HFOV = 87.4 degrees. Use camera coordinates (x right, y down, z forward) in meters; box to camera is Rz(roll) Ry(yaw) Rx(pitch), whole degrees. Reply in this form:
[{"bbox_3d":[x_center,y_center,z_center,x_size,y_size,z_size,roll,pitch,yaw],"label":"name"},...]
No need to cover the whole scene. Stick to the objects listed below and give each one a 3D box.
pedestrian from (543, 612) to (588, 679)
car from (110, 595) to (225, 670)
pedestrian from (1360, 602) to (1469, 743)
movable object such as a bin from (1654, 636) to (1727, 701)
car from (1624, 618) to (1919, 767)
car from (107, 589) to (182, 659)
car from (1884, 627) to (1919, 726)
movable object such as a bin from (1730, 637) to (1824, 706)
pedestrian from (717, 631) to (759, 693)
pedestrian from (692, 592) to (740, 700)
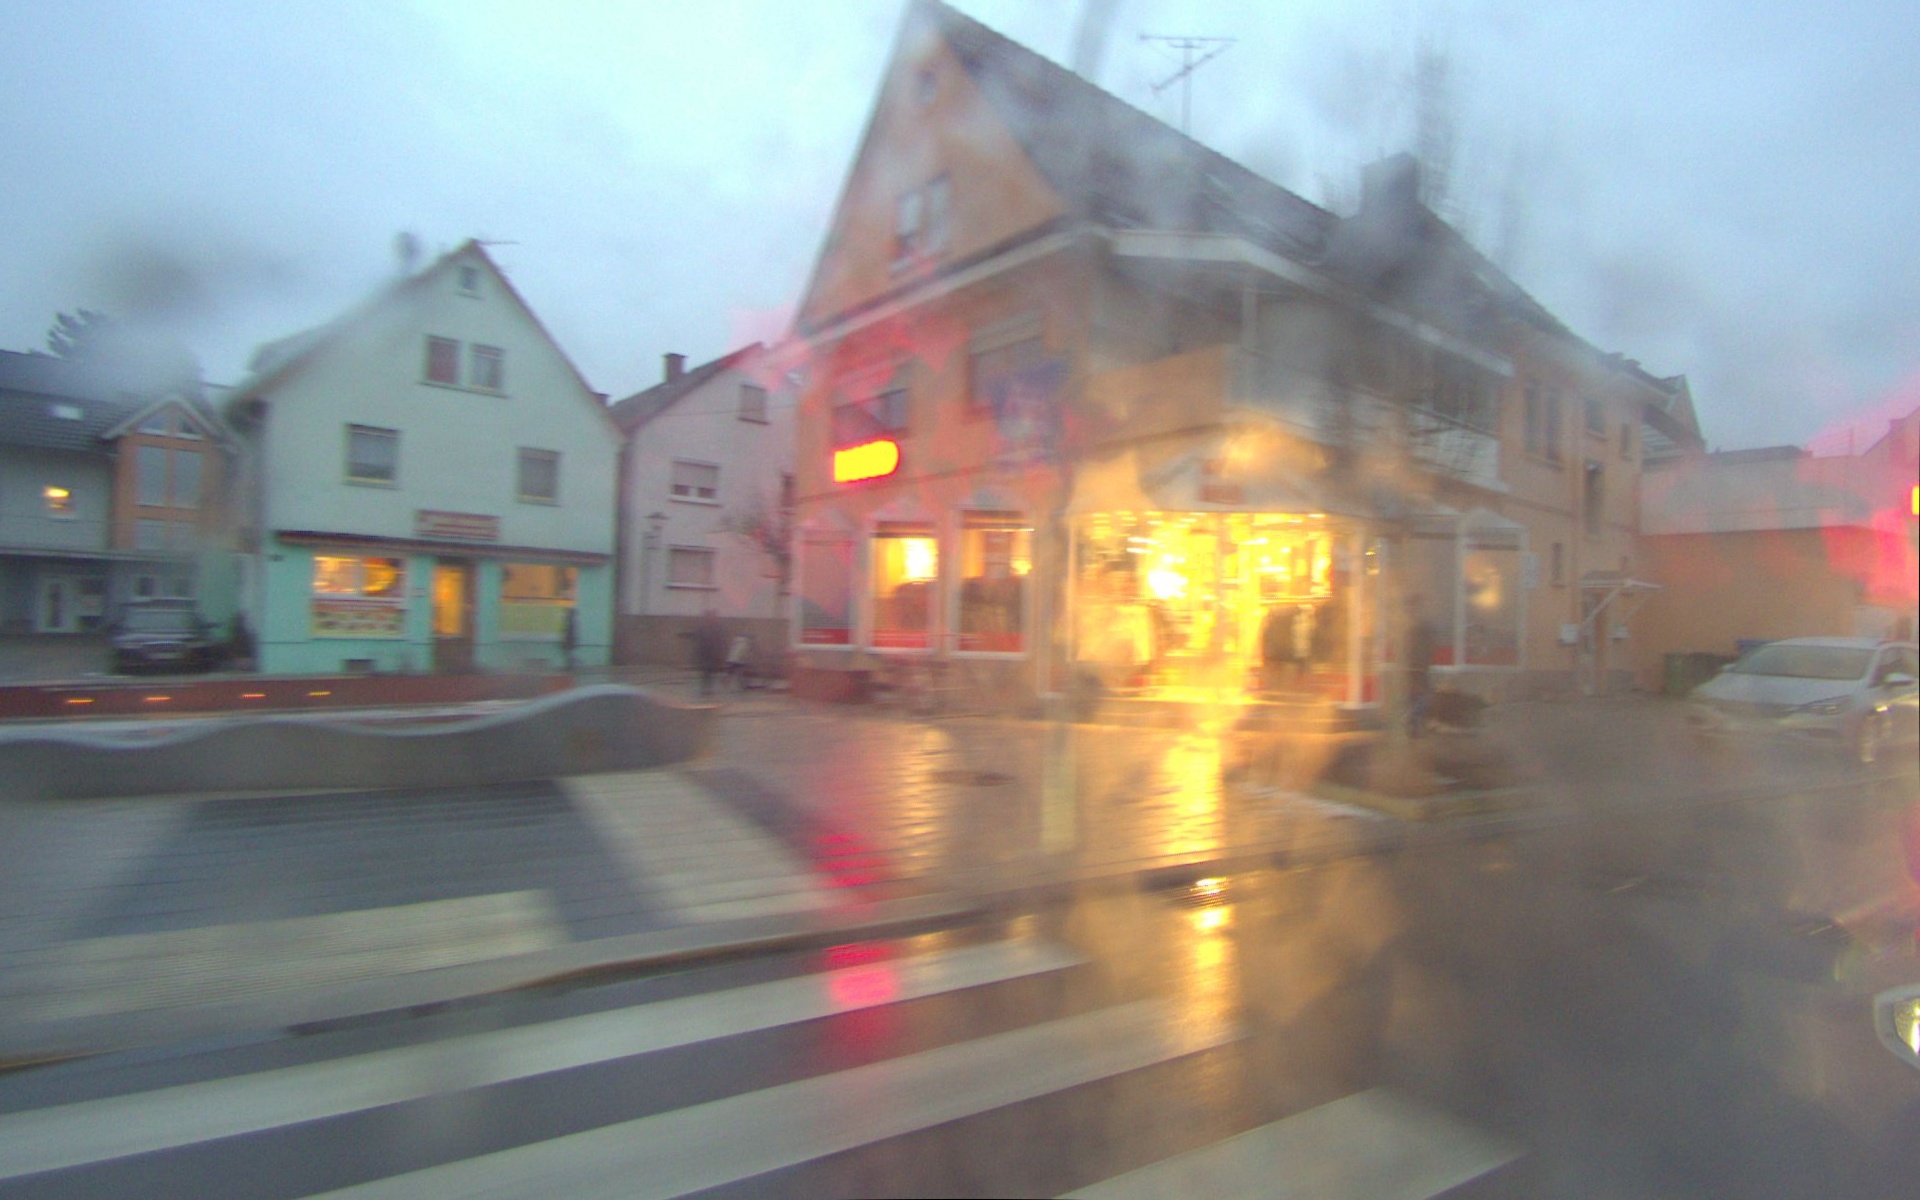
[{"bbox_3d":[-10.501,1.216,26.751,0.835,1.738,0.908,2,-3,-43],"label":"pedestrian"},{"bbox_3d":[-18.758,0.739,23.900,1.967,1.624,3.958,2,-2,-37],"label":"car"},{"bbox_3d":[5.795,0.893,12.807,1.087,1.680,0.820,2,1,-37],"label":"pedestrian"},{"bbox_3d":[16.167,1.494,22.240,0.845,1.372,1.140,2,-1,-40],"label":"movable object such as a bin"},{"bbox_3d":[10.882,1.086,13.006,4.566,1.579,1.984,2,0,-30],"label":"car"},{"bbox_3d":[-23.426,0.649,28.872,1.556,1.882,3.274,2,0,-40],"label":"car"},{"bbox_3d":[17.444,1.278,16.500,4.919,1.543,1.984,2,-1,-30],"label":"car"},{"bbox_3d":[17.086,1.492,21.014,0.882,1.371,1.330,2,-4,-39],"label":"movable object such as a bin"},{"bbox_3d":[-4.726,1.307,21.444,0.673,1.262,0.826,2,0,0],"label":"pedestrian"},{"bbox_3d":[-4.758,0.887,19.552,0.726,2.040,0.821,2,1,-24],"label":"pedestrian"}]
